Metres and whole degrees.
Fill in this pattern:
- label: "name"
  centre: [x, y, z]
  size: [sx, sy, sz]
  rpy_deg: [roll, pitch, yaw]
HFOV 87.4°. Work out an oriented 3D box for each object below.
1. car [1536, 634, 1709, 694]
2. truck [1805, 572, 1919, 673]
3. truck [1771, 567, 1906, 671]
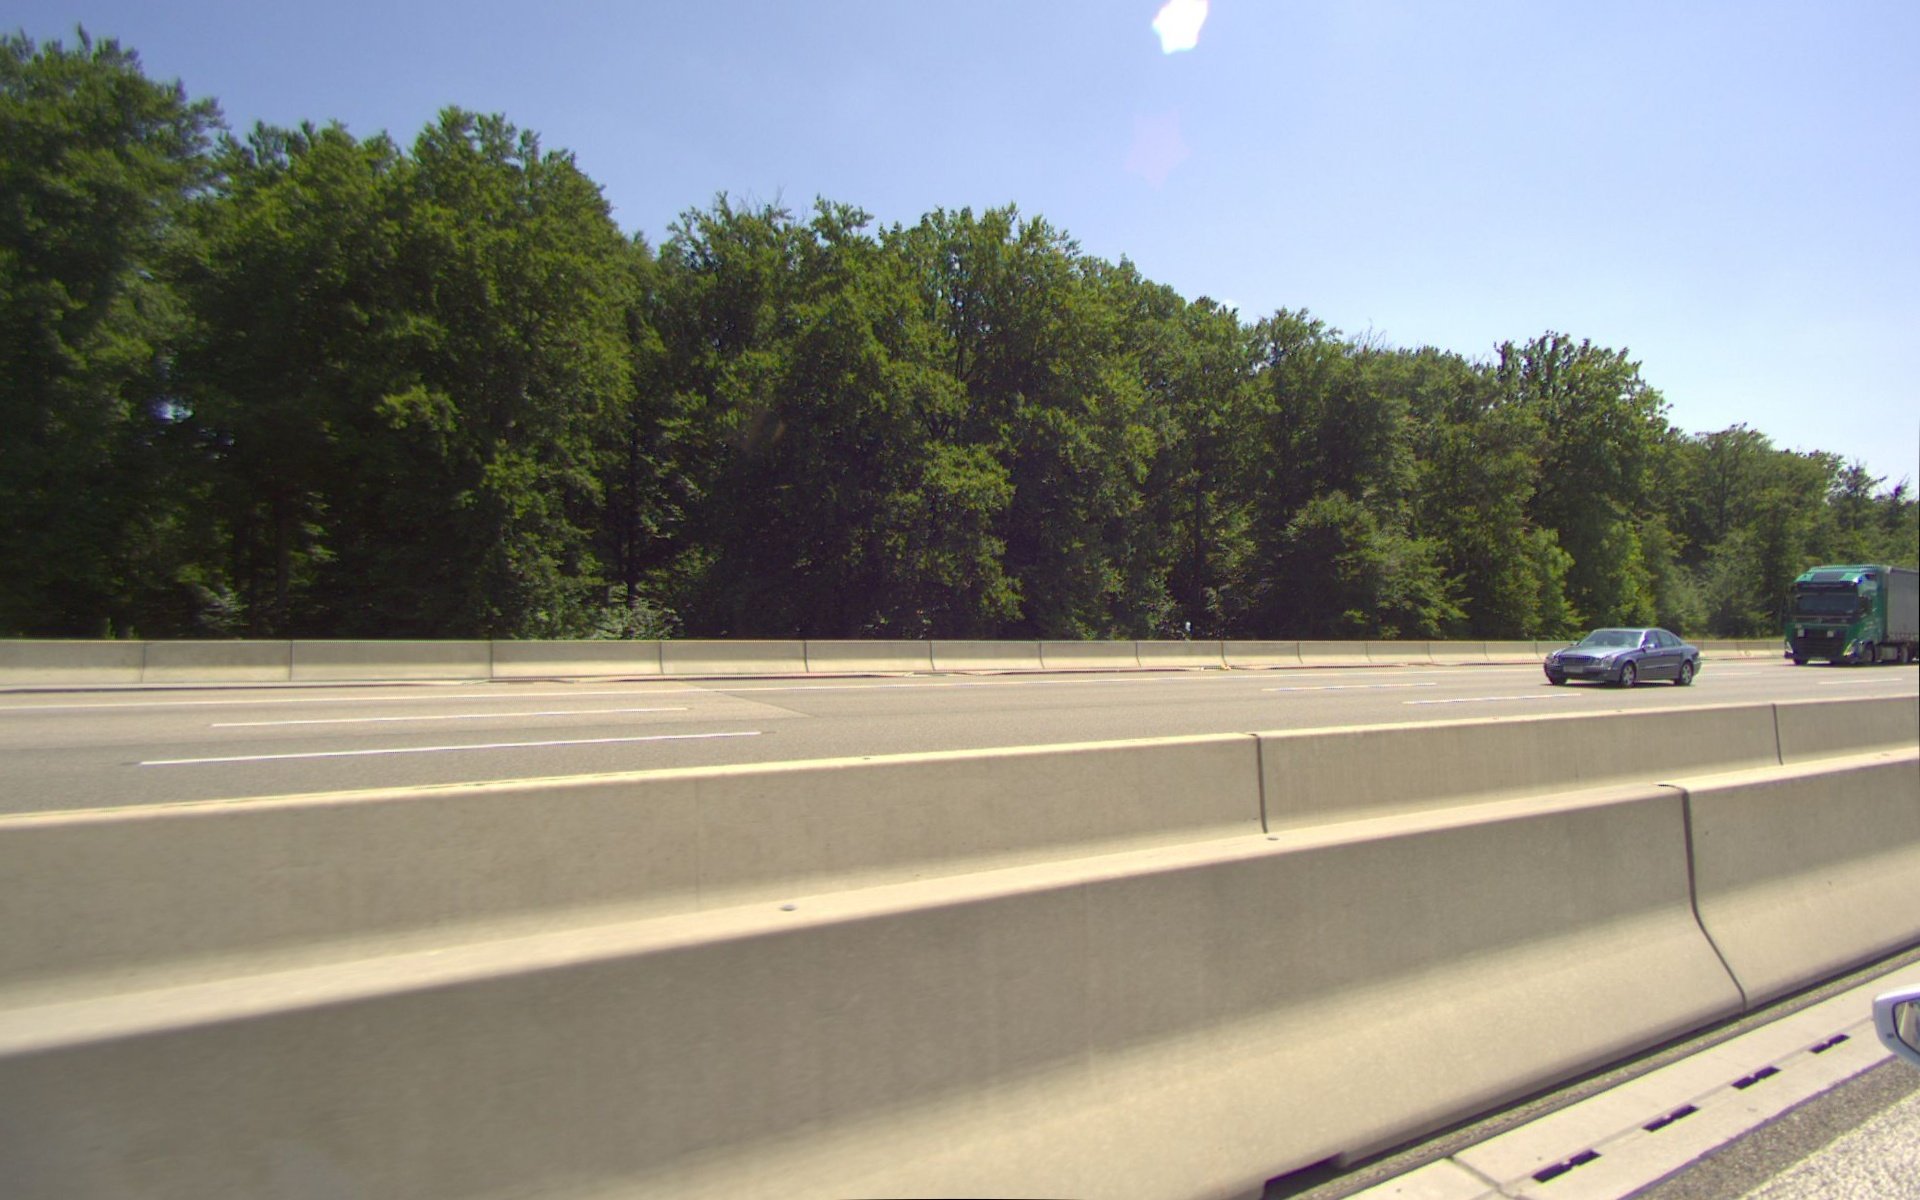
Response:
- label: "car"
  centre: [16.851, 1.588, 25.497]
  size: [4.675, 1.318, 1.822]
  rpy_deg: [2, 0, -31]
- label: "truck"
  centre: [43.118, 1.095, 45.637]
  size: [14.131, 4.079, 2.677]
  rpy_deg: [2, -1, -31]
- label: "truck"
  centre: [36.502, 0.802, 41.716]
  size: [5.447, 4.079, 2.644]
  rpy_deg: [2, -1, -31]
